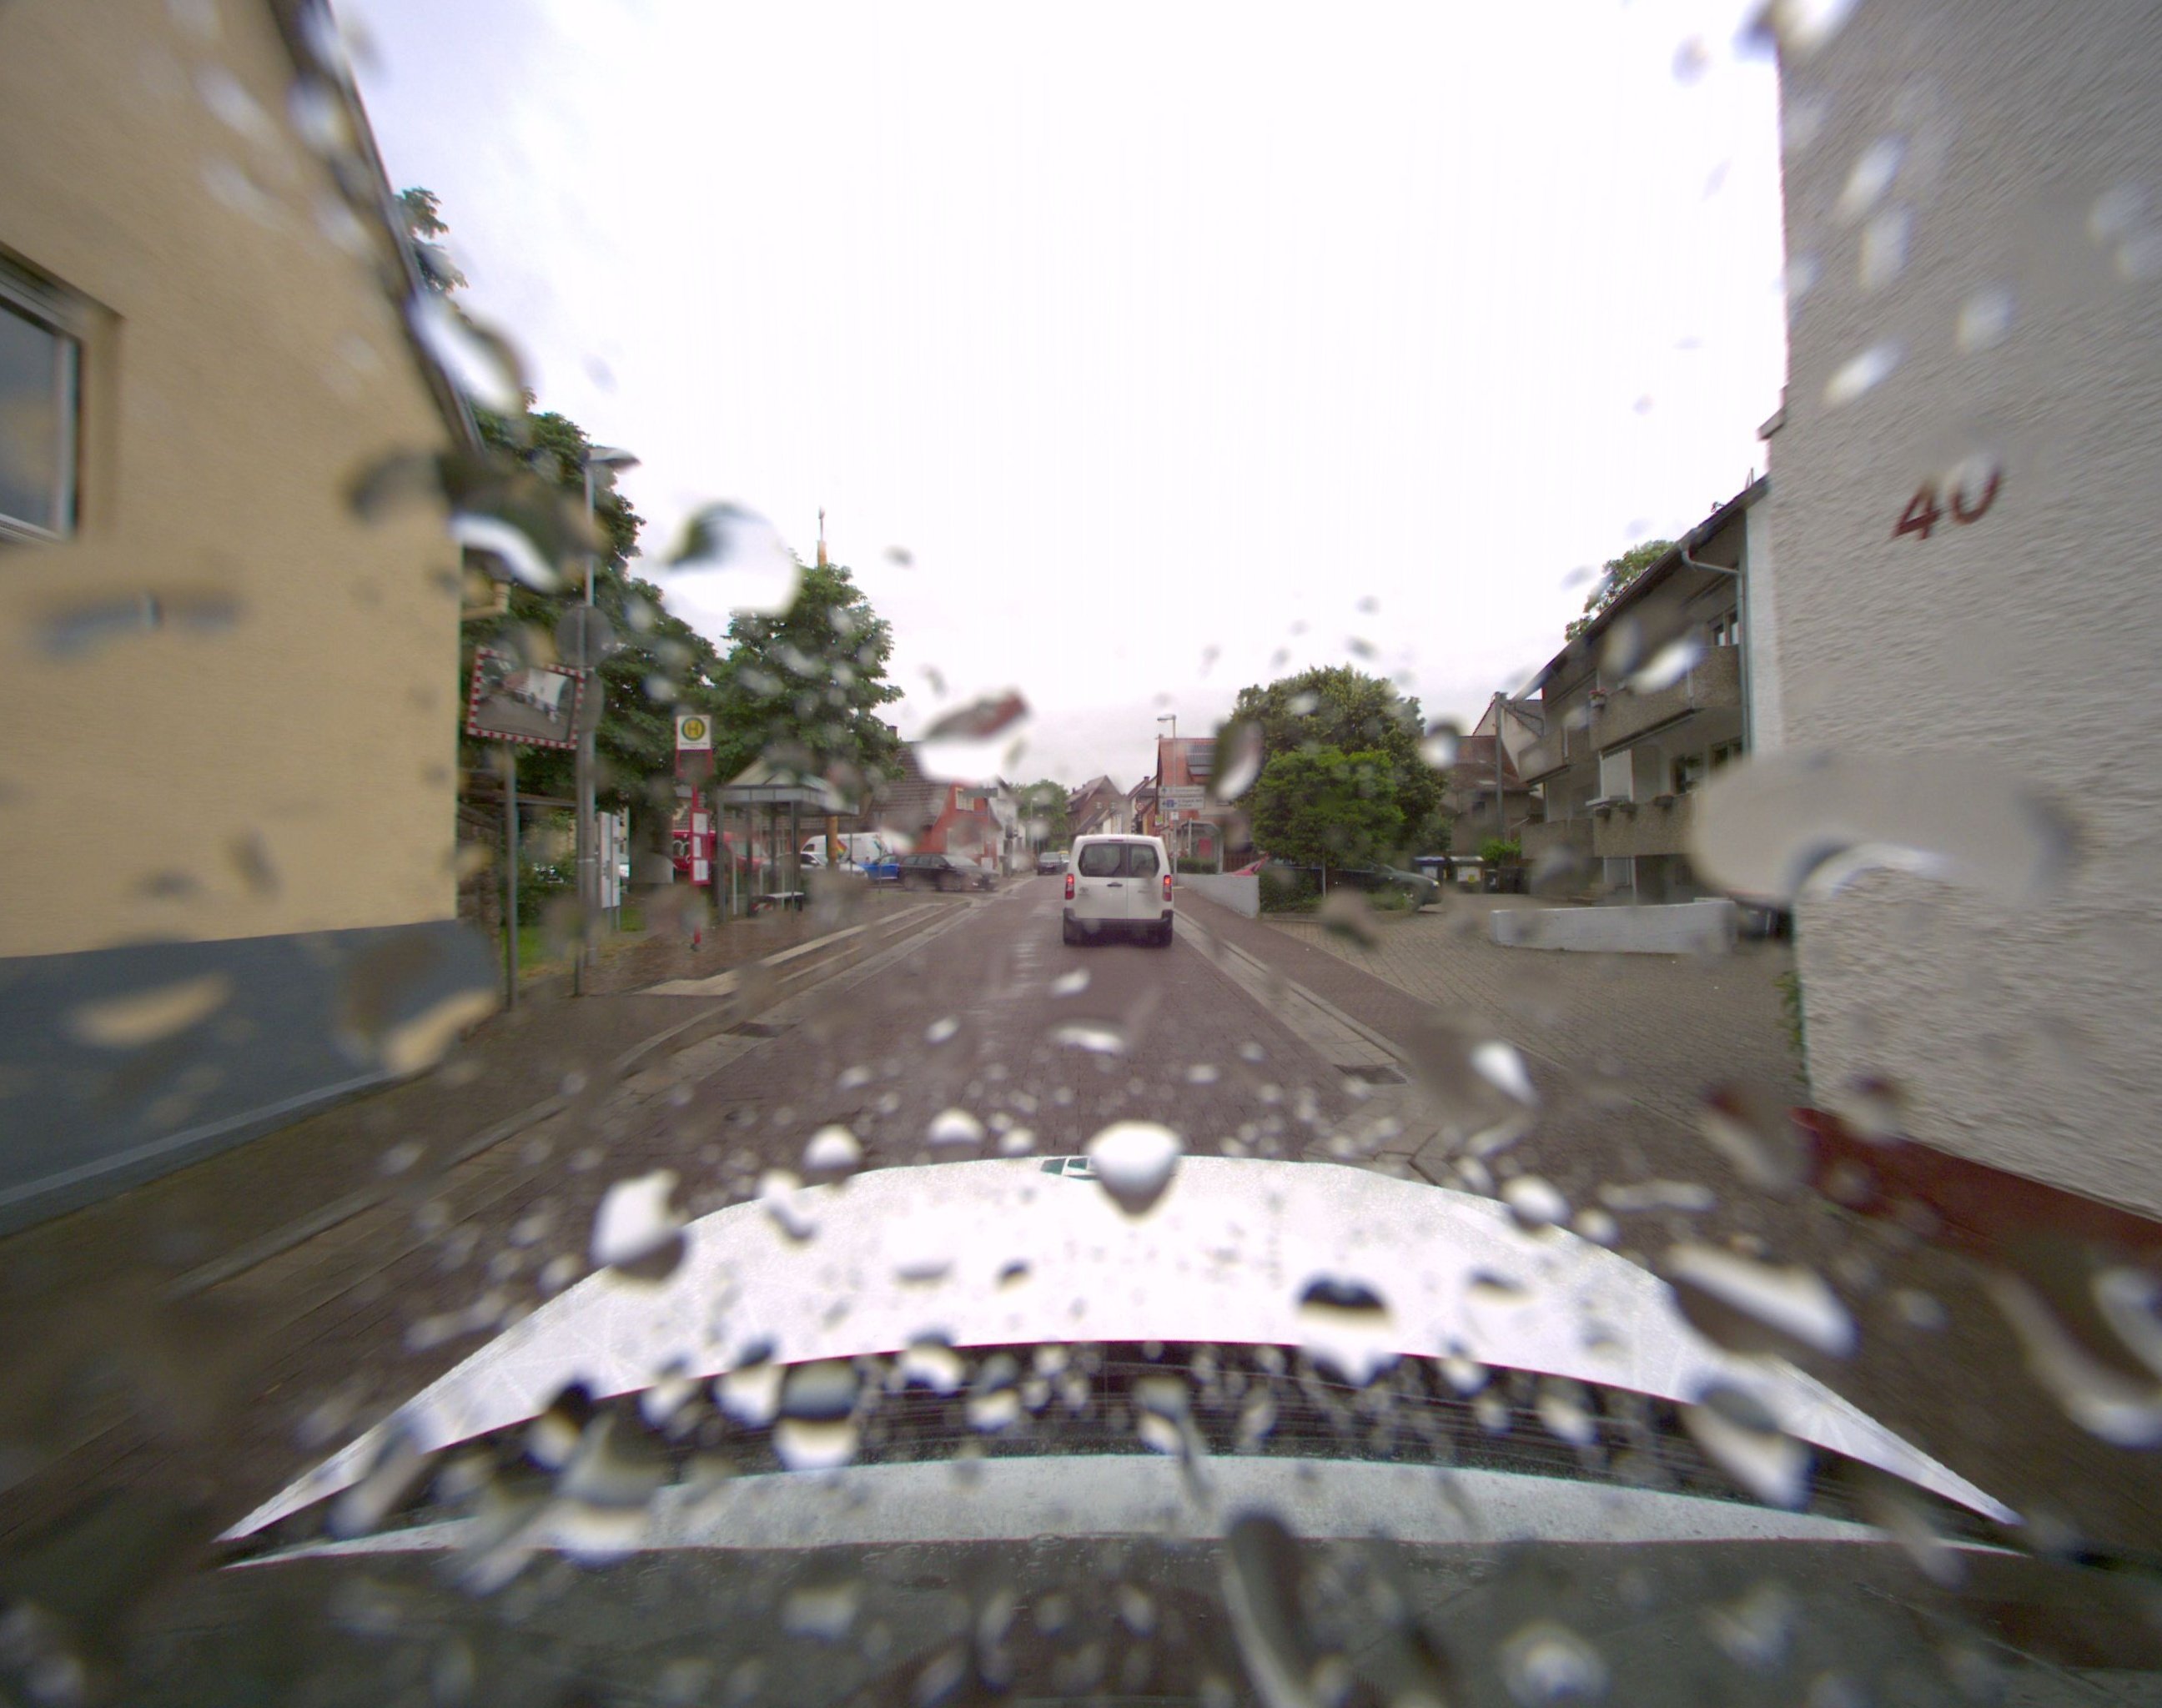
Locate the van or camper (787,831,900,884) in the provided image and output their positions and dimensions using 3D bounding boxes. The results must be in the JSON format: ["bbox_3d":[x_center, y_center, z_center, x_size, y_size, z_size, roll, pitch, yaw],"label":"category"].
[{"bbox_3d":[-11.805,0.184,40.391,5.095,2.435,2.224,-1,1,25],"label":"van or camper"}]

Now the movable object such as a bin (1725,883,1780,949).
[{"bbox_3d":[11.565,1.053,14.033,0.618,1.066,0.573,0,0,26],"label":"movable object such as a bin"}]

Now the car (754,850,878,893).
[{"bbox_3d":[-10.476,0.657,32.236,4.409,1.550,1.892,1,0,20],"label":"car"}]

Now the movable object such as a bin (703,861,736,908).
[{"bbox_3d":[-9.031,0.756,20.345,0.560,1.146,0.604,-1,-2,-3],"label":"movable object such as a bin"}]

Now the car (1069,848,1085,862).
[{"bbox_3d":[-0.545,0.134,112.335,1.989,1.747,3.997,0,1,-2],"label":"car"}]

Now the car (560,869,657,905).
[{"bbox_3d":[-21.454,1.489,36.984,3.767,1.550,1.810,-1,-1,21],"label":"car"}]

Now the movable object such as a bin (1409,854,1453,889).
[{"bbox_3d":[13.797,0.686,32.131,1.237,1.357,1.155,0,0,1],"label":"movable object such as a bin"}]

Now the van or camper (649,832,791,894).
[{"bbox_3d":[-15.411,0.365,34.720,5.805,2.473,2.167,0,0,25],"label":"van or camper"}]

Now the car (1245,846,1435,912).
[{"bbox_3d":[6.210,0.602,19.824,4.197,1.480,1.702,-1,0,15],"label":"car"}]

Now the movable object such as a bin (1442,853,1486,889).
[{"bbox_3d":[15.073,0.657,32.093,1.237,1.357,1.155,0,0,1],"label":"movable object such as a bin"}]

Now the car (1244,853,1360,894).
[{"bbox_3d":[8.104,0.704,30.159,3.930,1.378,1.755,-1,0,7],"label":"car"}]

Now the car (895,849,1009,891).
[{"bbox_3d":[-5.079,0.622,31.816,4.258,1.477,1.862,-2,1,35],"label":"car"}]

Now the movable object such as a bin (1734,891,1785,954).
[{"bbox_3d":[11.020,1.094,13.251,0.617,0.948,0.660,0,0,38],"label":"movable object such as a bin"}]

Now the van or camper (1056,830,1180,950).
[{"bbox_3d":[0.548,0.551,14.671,1.938,1.851,3.998,0,0,-1],"label":"van or camper"}]

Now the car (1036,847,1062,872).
[{"bbox_3d":[-2.353,0.368,60.300,1.807,1.779,4.015,-2,0,-2],"label":"car"}]

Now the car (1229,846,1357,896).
[{"bbox_3d":[7.152,0.572,27.675,4.039,1.589,1.864,-1,0,14],"label":"car"}]
